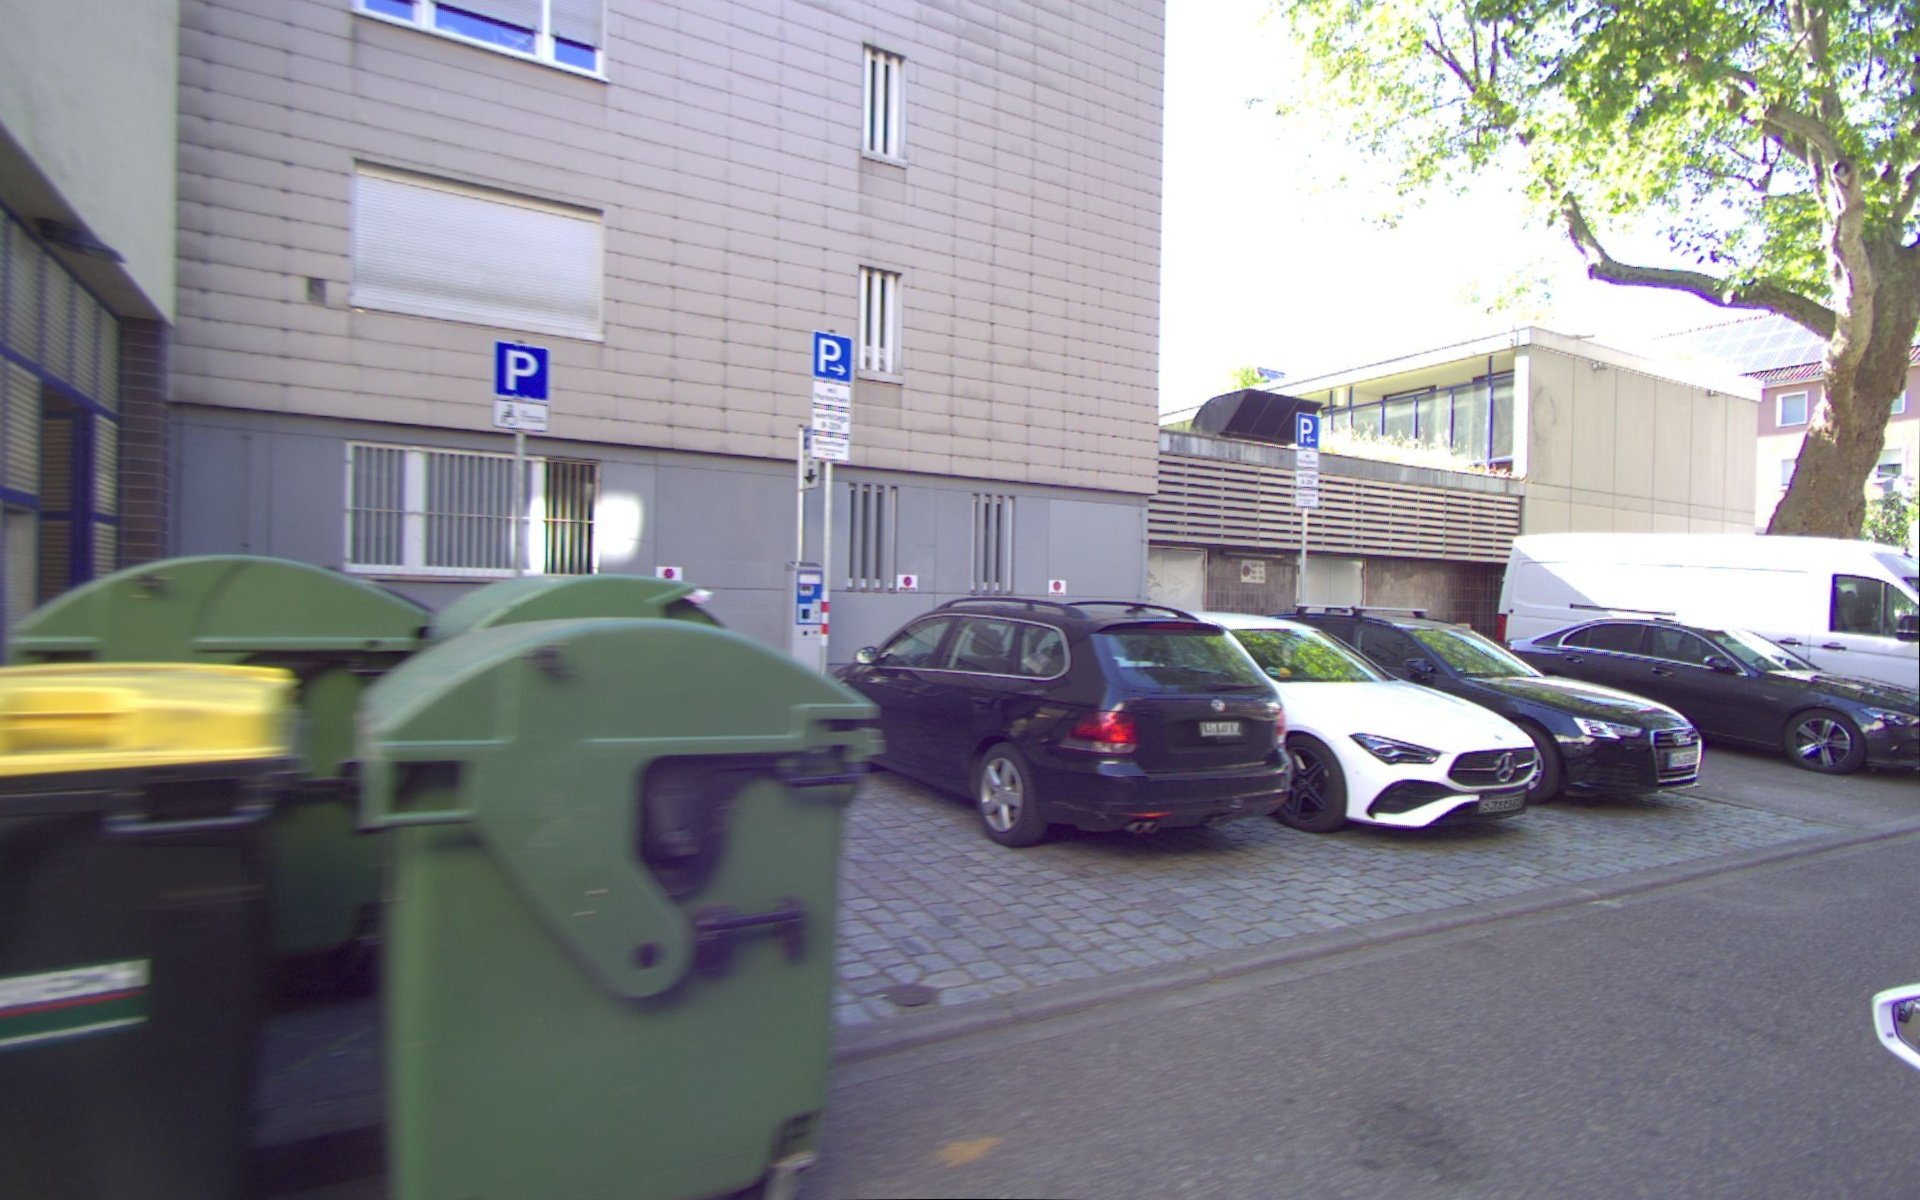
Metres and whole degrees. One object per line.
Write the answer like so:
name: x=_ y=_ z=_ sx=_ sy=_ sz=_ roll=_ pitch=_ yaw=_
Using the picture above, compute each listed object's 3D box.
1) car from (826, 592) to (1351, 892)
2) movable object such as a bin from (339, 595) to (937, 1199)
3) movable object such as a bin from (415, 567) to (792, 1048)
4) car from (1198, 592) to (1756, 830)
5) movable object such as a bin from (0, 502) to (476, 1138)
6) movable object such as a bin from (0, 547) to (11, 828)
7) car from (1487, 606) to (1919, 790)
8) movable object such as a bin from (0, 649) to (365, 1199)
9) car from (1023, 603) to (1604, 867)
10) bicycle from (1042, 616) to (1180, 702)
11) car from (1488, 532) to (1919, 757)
car: x=0.619 y=0.752 z=7.311 sx=1.806 sy=1.525 sz=3.856 roll=2 pitch=0 yaw=-30
movable object such as a bin: x=-0.885 y=0.747 z=2.540 sx=1.106 sy=1.470 sz=1.293 roll=2 pitch=0 yaw=-33
movable object such as a bin: x=-1.515 y=0.687 z=4.152 sx=1.110 sy=1.570 sz=1.343 roll=2 pitch=0 yaw=-35
car: x=4.628 y=0.836 z=9.748 sx=1.895 sy=1.631 sz=4.441 roll=2 pitch=1 yaw=-31
movable object such as a bin: x=-2.436 y=0.594 z=3.454 sx=1.162 sy=1.675 sz=1.219 roll=2 pitch=0 yaw=-35
movable object such as a bin: x=-3.364 y=0.624 z=2.539 sx=1.069 sy=1.626 sz=1.283 roll=2 pitch=0 yaw=-30
car: x=8.993 y=0.976 z=11.948 sx=1.905 sy=1.490 sz=4.481 roll=2 pitch=2 yaw=-28
movable object such as a bin: x=-1.810 y=0.799 z=1.967 sx=1.033 sy=1.339 sz=1.235 roll=2 pitch=0 yaw=-30
car: x=2.540 y=0.849 z=8.356 sx=1.935 sy=1.444 sz=4.320 roll=2 pitch=0 yaw=-30
bicycle: x=2.189 y=0.826 z=14.441 sx=2.014 sy=1.139 sz=0.606 roll=1 pitch=1 yaw=-30
car: x=11.131 y=0.445 z=13.831 sx=2.119 sy=2.589 sz=6.712 roll=2 pitch=2 yaw=-27
